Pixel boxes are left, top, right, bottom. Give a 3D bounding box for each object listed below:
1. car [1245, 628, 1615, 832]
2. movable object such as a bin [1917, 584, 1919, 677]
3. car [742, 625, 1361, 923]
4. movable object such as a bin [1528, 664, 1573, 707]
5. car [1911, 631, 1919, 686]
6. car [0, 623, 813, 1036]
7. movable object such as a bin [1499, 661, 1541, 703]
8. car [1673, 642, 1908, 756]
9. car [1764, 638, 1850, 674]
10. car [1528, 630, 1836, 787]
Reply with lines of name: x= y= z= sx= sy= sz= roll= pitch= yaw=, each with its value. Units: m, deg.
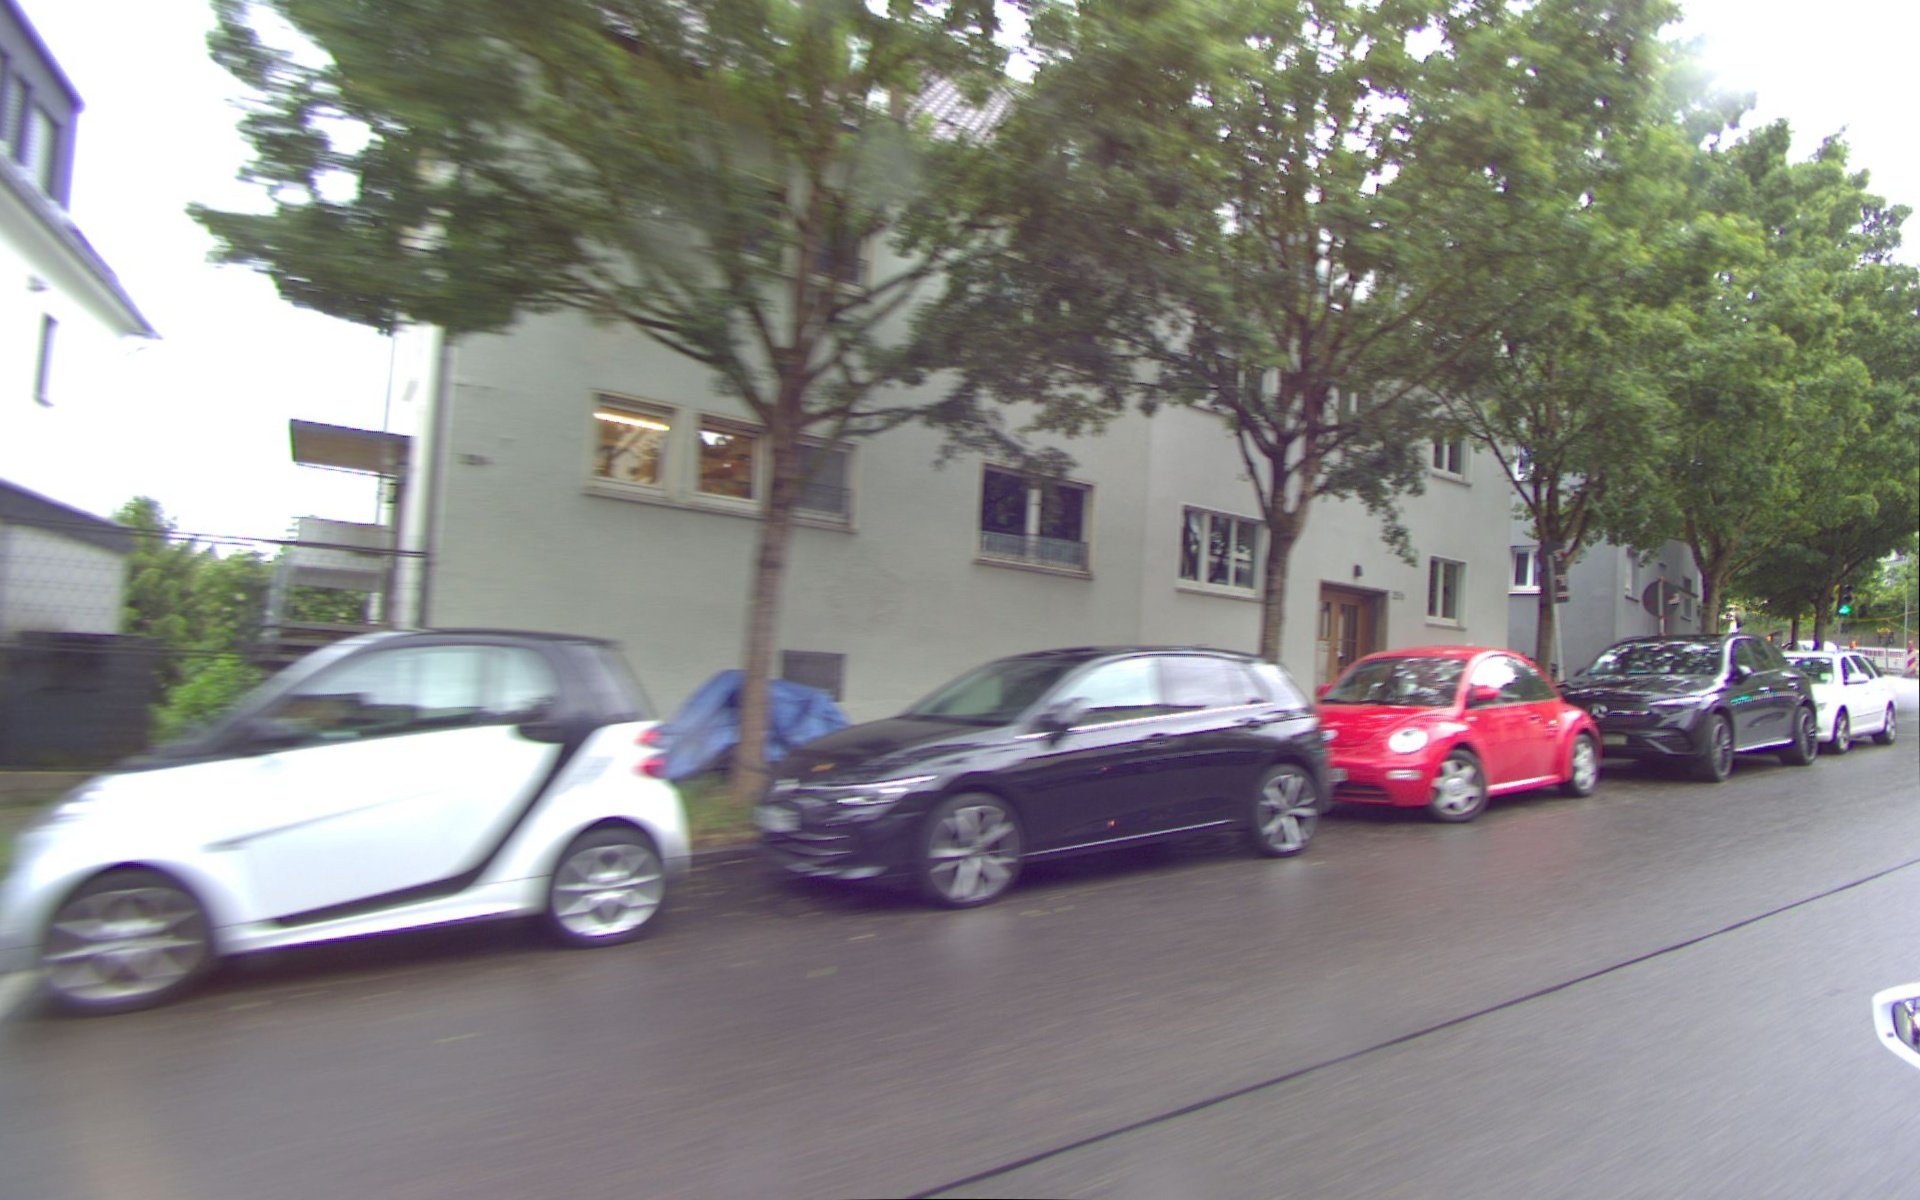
car: x=4.610 y=1.169 z=9.679 sx=3.814 sy=1.584 sz=1.621 roll=3 pitch=-6 yaw=-37
movable object such as a bin: x=41.507 y=1.238 z=40.500 sx=2.780 sy=4.067 sz=7.309 roll=0 pitch=-1 yaw=32
car: x=0.721 y=1.027 z=6.839 sx=4.050 sy=1.507 sz=1.549 roll=3 pitch=-6 yaw=-30
movable object such as a bin: x=13.864 y=1.989 z=23.583 sx=0.635 sy=0.963 sz=0.653 roll=1 pitch=-2 yaw=-25
car: x=32.048 y=1.860 z=31.616 sx=1.963 sy=1.817 sz=3.996 roll=-2 pitch=-3 yaw=27
car: x=-2.606 y=0.977 z=5.204 sx=3.343 sy=1.530 sz=1.549 roll=2 pitch=-6 yaw=-29
movable object such as a bin: x=13.530 y=1.968 z=24.282 sx=0.635 sy=0.963 sz=0.653 roll=1 pitch=-2 yaw=-25
car: x=12.943 y=1.459 z=15.584 sx=4.273 sy=1.528 sz=1.671 roll=1 pitch=-5 yaw=-35
car: x=37.644 y=2.479 z=44.759 sx=1.693 sy=1.505 sz=4.076 roll=-1 pitch=-3 yaw=22
car: x=9.038 y=1.234 z=12.454 sx=4.531 sy=1.629 sz=1.671 roll=1 pitch=-5 yaw=-36
